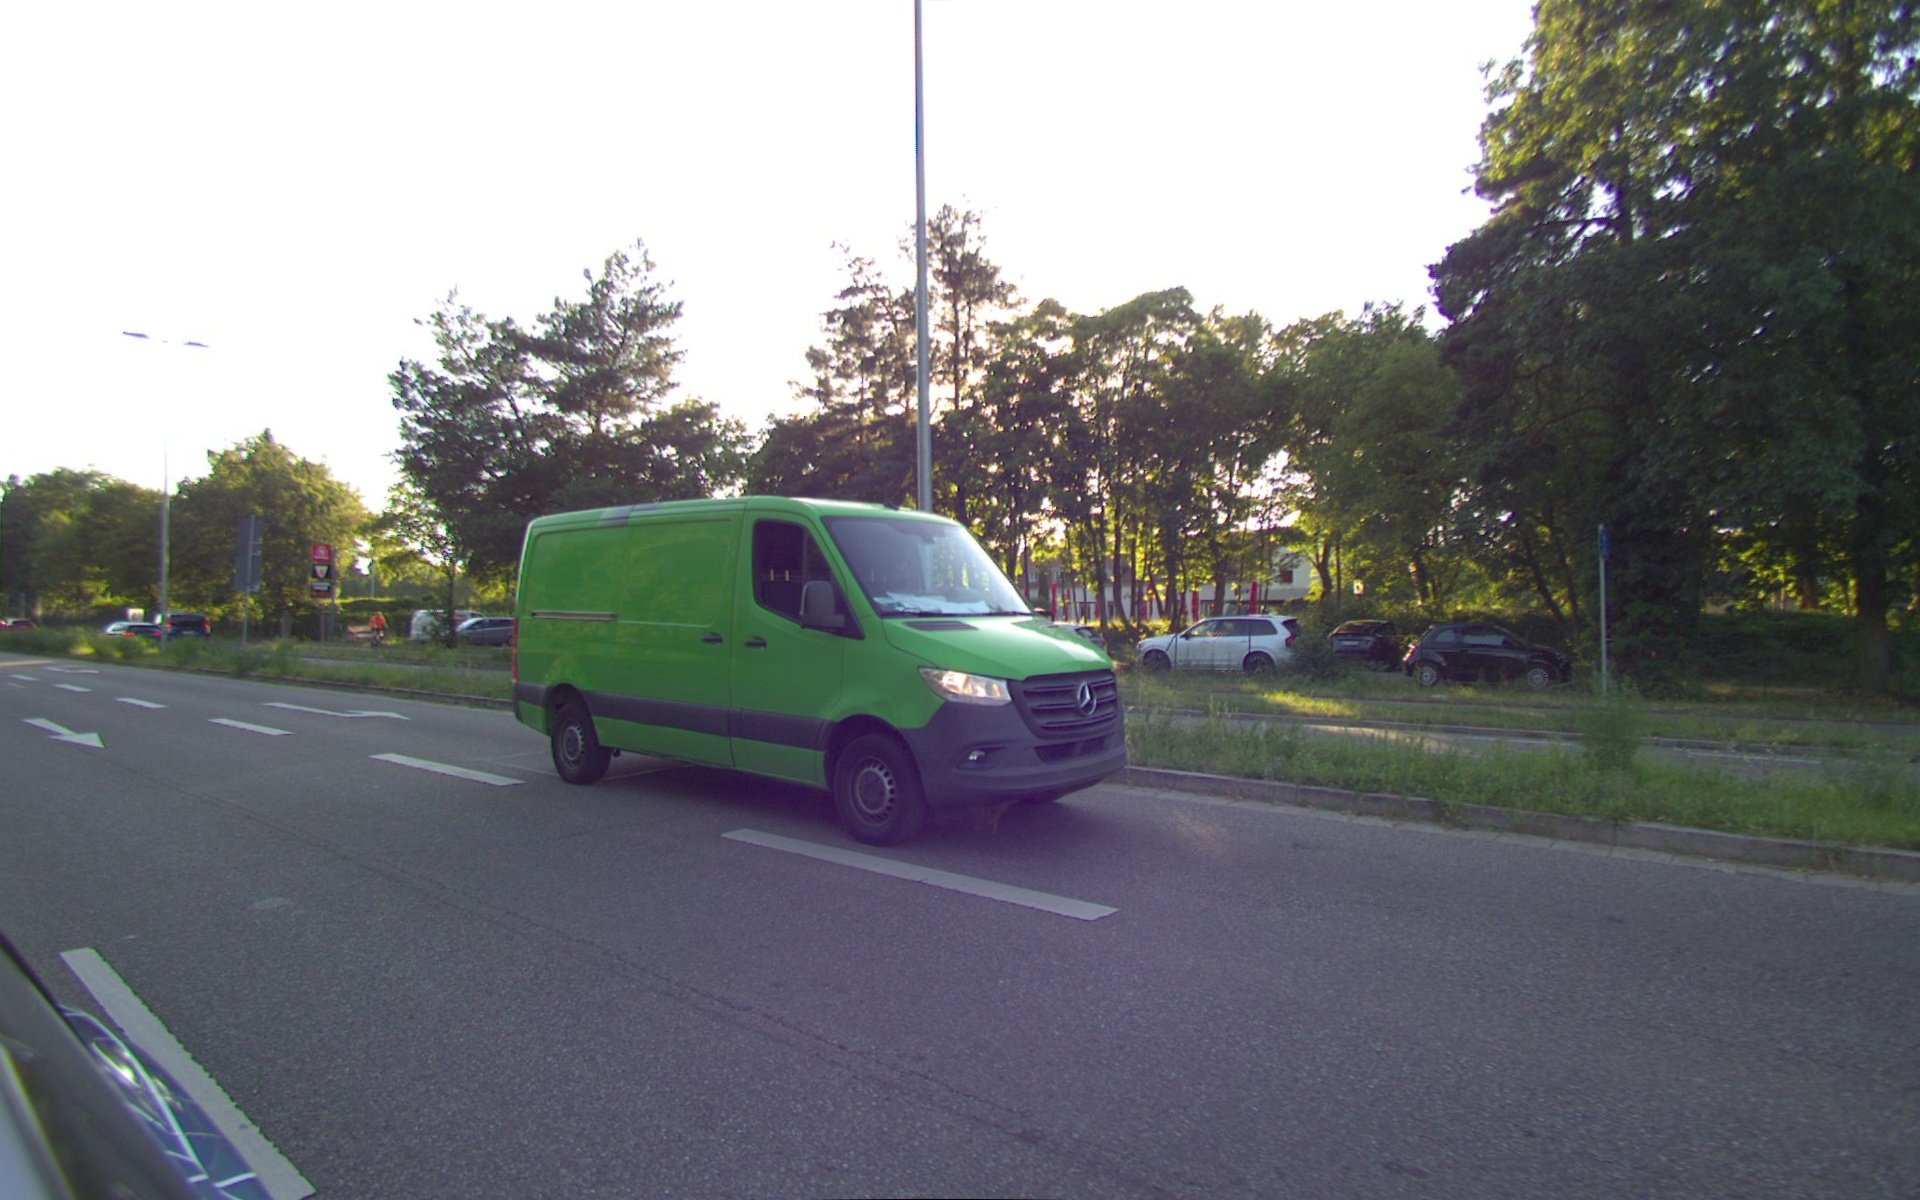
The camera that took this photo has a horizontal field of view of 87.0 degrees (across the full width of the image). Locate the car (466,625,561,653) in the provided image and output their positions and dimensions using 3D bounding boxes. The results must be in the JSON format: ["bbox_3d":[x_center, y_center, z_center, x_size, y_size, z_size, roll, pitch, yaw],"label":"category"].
[{"bbox_3d":[-21.988,1.917,49.938,1.732,1.322,3.946,-1,-2,40],"label":"car"}]

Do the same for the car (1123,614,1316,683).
[{"bbox_3d":[7.236,1.322,28.494,4.914,1.800,1.975,-1,-2,37],"label":"car"}]

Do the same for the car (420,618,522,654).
[{"bbox_3d":[-25.908,1.913,53.739,1.907,1.812,4.442,-1,-2,38],"label":"car"}]

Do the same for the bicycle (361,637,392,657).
[{"bbox_3d":[-27.552,2.202,47.786,2.041,0.940,0.487,-1,-2,37],"label":"bicycle"}]

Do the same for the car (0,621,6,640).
[{"bbox_3d":[-79.555,2.486,82.752,3.997,1.552,1.738,0,0,40],"label":"car"}]

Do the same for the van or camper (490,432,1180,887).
[{"bbox_3d":[-1.376,0.384,8.085,5.891,2.439,1.973,-1,-2,40],"label":"van or camper"}]

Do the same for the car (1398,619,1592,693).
[{"bbox_3d":[12.577,1.262,23.868,3.807,1.609,1.838,-1,-2,36],"label":"car"}]

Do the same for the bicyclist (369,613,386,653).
[{"bbox_3d":[-27.506,1.559,47.785,0.617,1.888,0.454,-1,-2,37],"label":"bicyclist"}]

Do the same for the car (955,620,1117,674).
[{"bbox_3d":[2.365,1.456,32.343,4.914,1.619,1.975,-1,-2,37],"label":"car"}]

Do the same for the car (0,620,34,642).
[{"bbox_3d":[-72.889,2.353,78.009,3.996,1.552,1.738,0,0,40],"label":"car"}]

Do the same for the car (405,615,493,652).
[{"bbox_3d":[-28.143,1.838,55.808,1.764,1.959,3.948,-1,-2,38],"label":"car"}]

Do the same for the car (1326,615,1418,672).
[{"bbox_3d":[13.111,1.351,32.053,1.914,1.663,3.953,-1,-2,34],"label":"car"}]

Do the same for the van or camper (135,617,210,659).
[{"bbox_3d":[-39.974,1.923,51.330,4.572,2.029,1.974,-1,-2,38],"label":"van or camper"}]

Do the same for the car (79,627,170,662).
[{"bbox_3d":[-37.154,1.951,44.964,4.502,1.506,1.976,-1,-2,35],"label":"car"}]
